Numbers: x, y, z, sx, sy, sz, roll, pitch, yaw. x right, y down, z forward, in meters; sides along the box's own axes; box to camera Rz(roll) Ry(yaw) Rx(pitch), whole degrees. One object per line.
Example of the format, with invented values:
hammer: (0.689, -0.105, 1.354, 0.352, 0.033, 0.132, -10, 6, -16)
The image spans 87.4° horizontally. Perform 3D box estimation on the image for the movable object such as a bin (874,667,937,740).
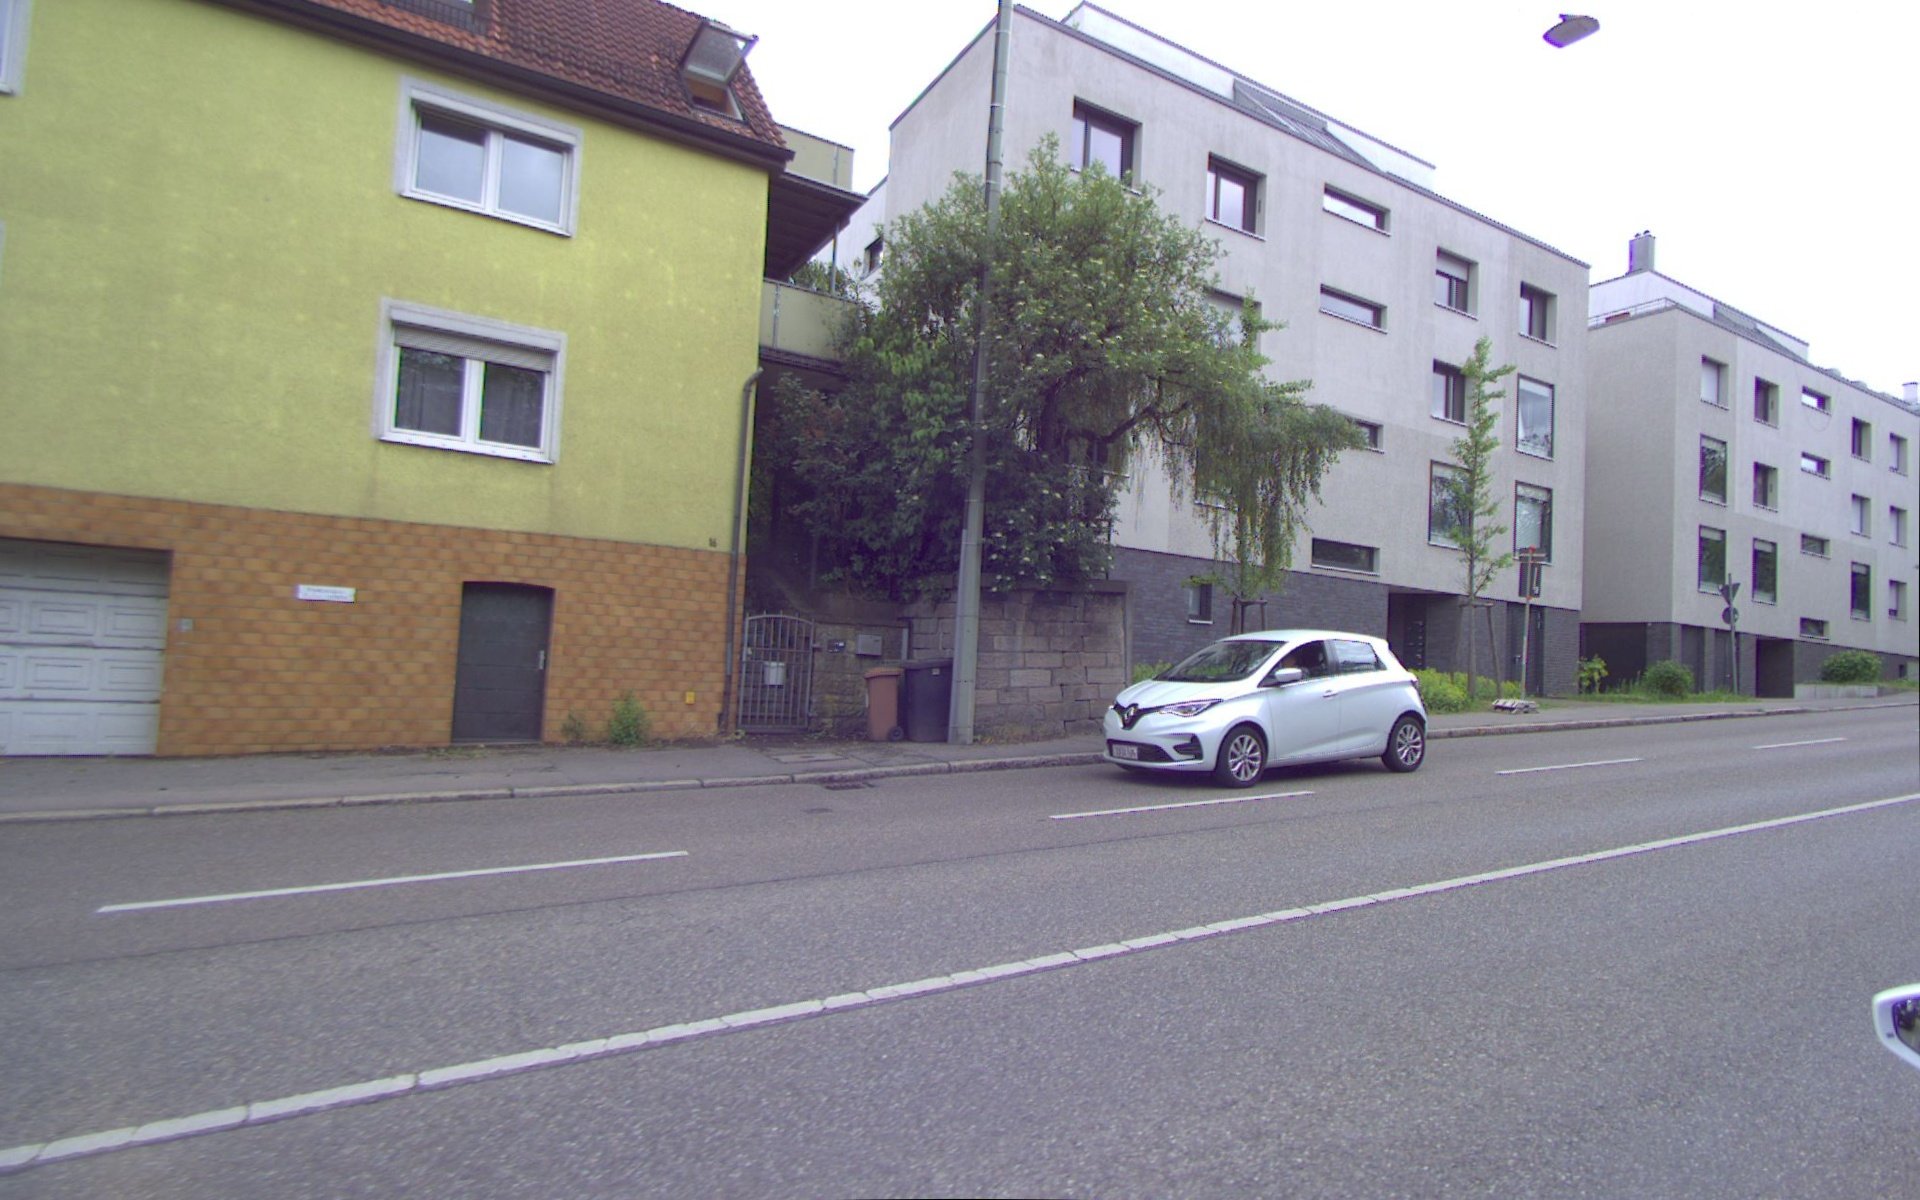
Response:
movable object such as a bin: (-0.736, 1.392, 13.612, 0.561, 0.897, 0.606, 3, 1, 44)

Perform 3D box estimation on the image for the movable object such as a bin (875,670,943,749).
movable object such as a bin: (-0.643, 1.365, 12.679, 0.561, 0.897, 0.606, 3, 1, 44)

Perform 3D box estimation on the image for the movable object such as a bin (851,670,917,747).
movable object such as a bin: (-0.975, 1.374, 12.887, 0.561, 0.897, 0.606, 3, 1, 44)

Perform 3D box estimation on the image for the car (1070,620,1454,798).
car: (3.354, 1.090, 11.044, 4.006, 1.634, 1.737, 1, -3, -29)
